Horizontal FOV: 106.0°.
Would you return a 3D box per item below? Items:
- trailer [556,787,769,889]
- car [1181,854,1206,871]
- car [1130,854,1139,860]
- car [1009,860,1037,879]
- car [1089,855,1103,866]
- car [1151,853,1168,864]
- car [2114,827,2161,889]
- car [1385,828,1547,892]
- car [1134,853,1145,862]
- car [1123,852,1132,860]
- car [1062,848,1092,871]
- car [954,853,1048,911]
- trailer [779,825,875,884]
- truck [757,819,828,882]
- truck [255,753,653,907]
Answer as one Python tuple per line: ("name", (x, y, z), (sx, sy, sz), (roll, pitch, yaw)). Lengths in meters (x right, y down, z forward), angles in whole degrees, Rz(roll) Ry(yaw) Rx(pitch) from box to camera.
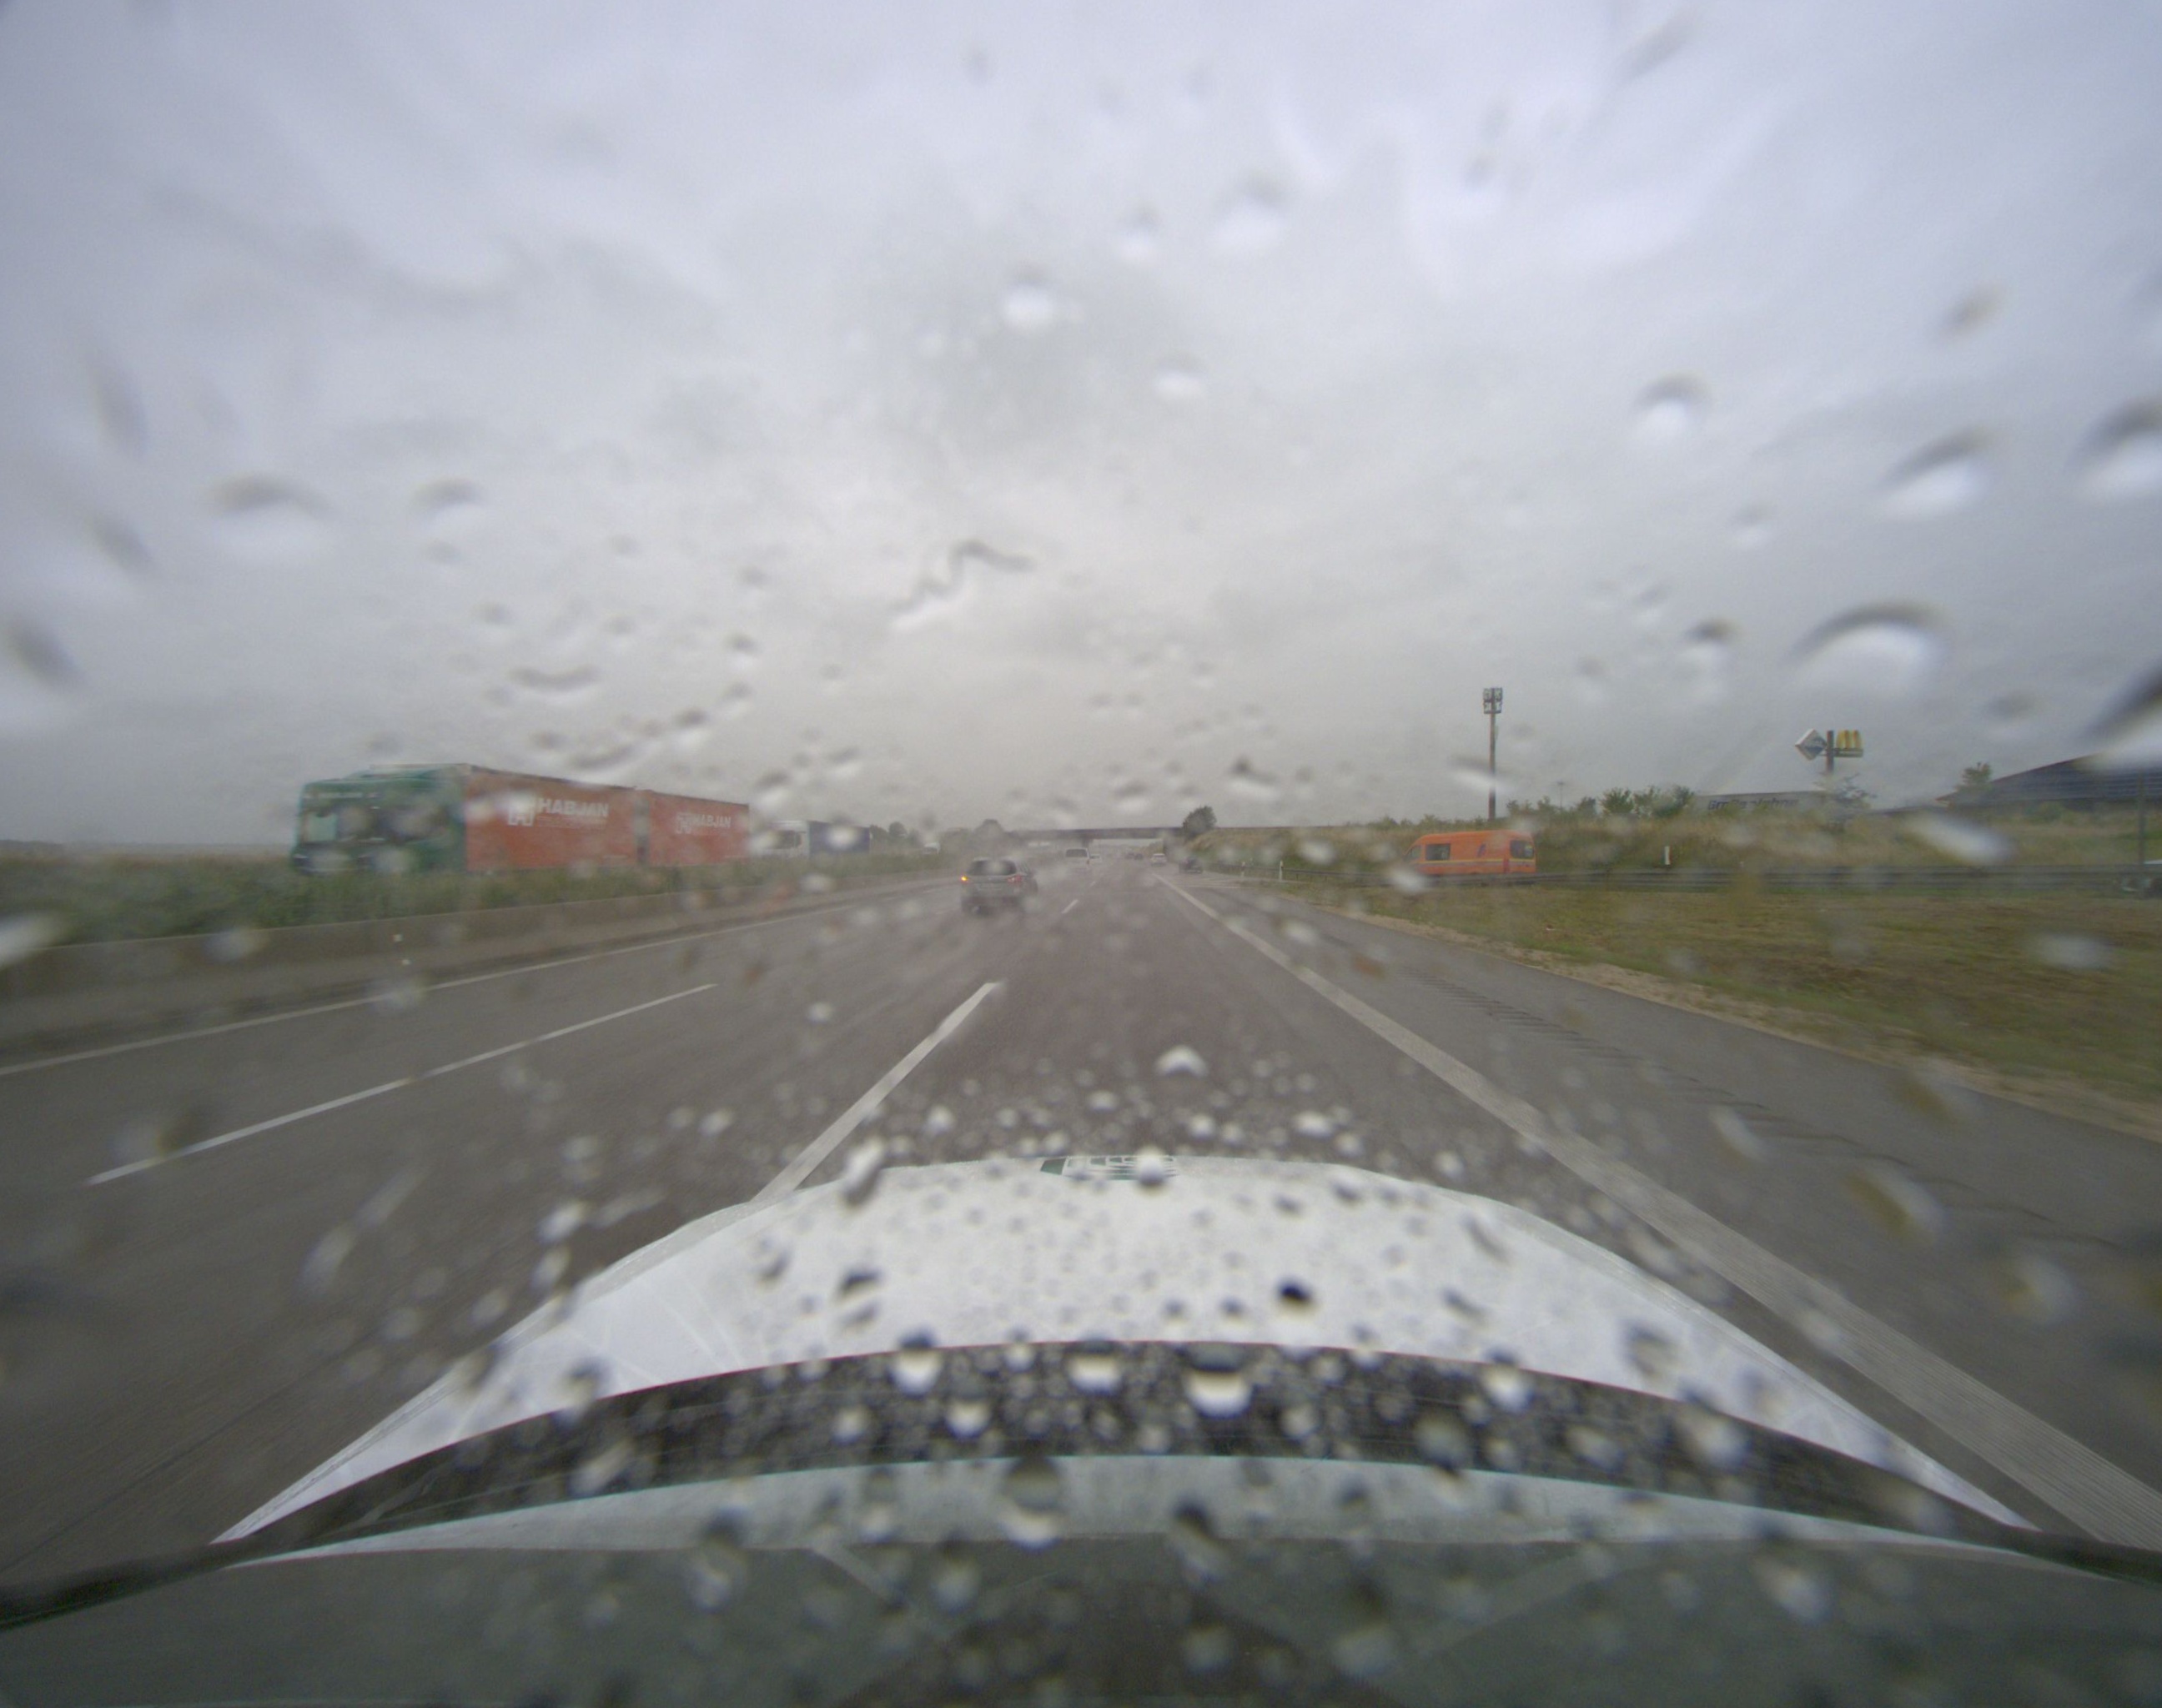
("trailer", (-16.451, -0.557, 33.198), (3.243, 3.456, 9.451), (-2, 0, 3))
("car", (9.745, 0.697, 70.835), (1.726, 1.421, 3.658), (-1, 0, 0))
("car", (11.900, 0.675, 182.205), (1.985, 1.464, 4.003), (-1, 0, 3))
("car", (-4.470, 1.181, 62.967), (1.606, 1.354, 4.004), (-1, -1, 4))
("car", (1.688, 0.710, 92.762), (1.461, 1.208, 2.994), (0, -1, 3))
("car", (9.326, 0.584, 96.664), (1.984, 1.266, 4.005), (-1, -1, 5))
("car", (27.737, 0.088, 18.874), (4.421, 1.486, 1.926), (-2, -3, 44))
("car", (17.222, 0.230, 36.940), (2.072, 2.615, 6.826), (1, 0, -27))
("car", (10.970, 0.674, 152.456), (1.795, 1.508, 4.000), (-2, 0, 1))
("car", (11.913, 0.451, 208.415), (1.987, 2.101, 4.000), (-2, 0, 0))
("car", (-0.242, 0.386, 57.525), (1.889, 1.585, 4.003), (-1, -1, 3))
("car", (-2.220, 0.751, 23.968), (1.837, 1.513, 4.763), (-1, 0, 5))
("trailer", (-19.025, 0.043, 62.211), (2.426, 3.939, 13.500), (-2, 0, 2))
("truck", (-19.348, -0.221, 54.970), (2.476, 3.926, 5.613), (-1, 0, 2))
("truck", (-17.000, -0.547, 23.659), (3.252, 3.441, 10.138), (-1, 0, 3))
